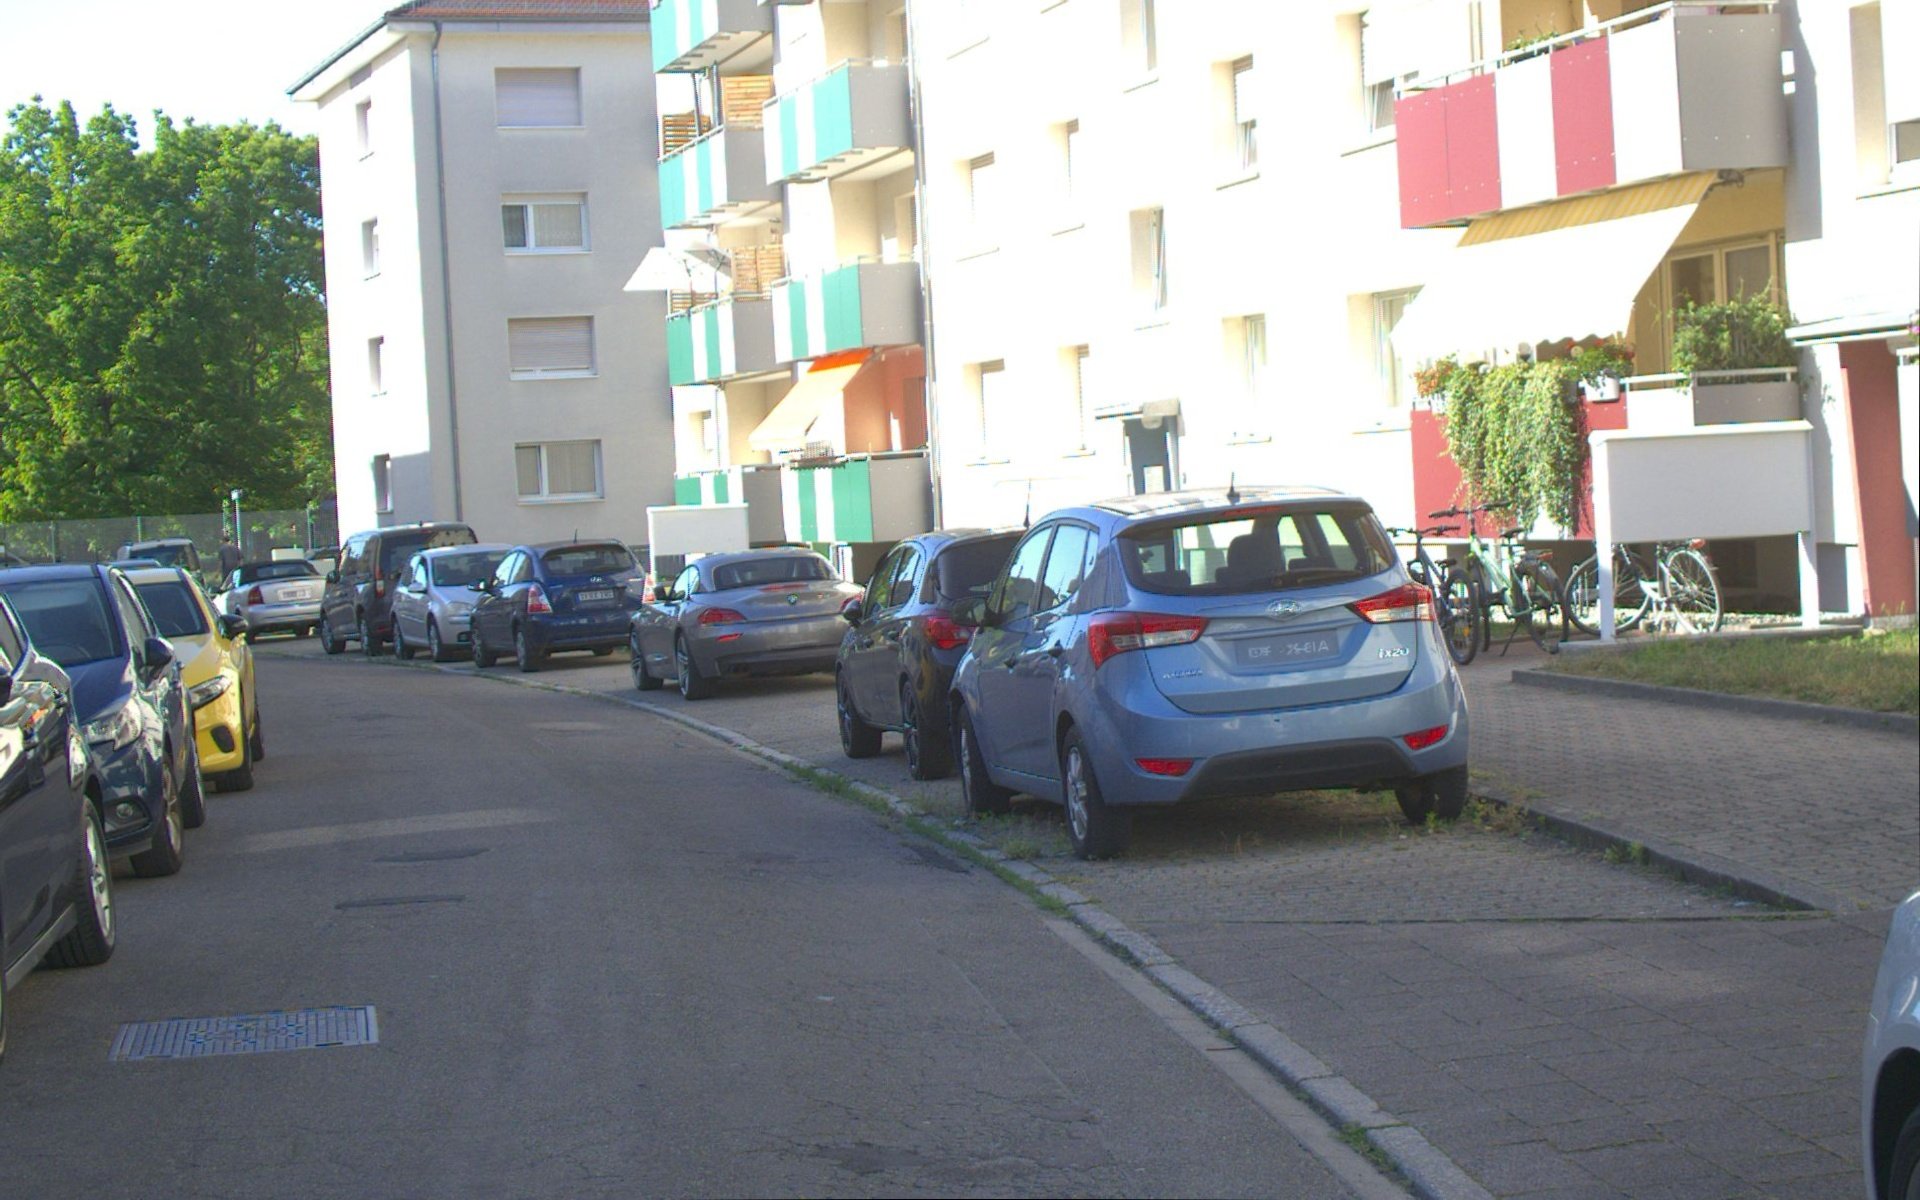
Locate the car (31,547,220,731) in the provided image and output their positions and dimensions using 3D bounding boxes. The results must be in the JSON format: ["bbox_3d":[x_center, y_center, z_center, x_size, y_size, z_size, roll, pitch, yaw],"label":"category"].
[{"bbox_3d":[-7.944,0.323,32.792,1.478,1.472,3.632,-8,3,-13],"label":"car"}]

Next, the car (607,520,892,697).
[{"bbox_3d":[-2.044,0.033,32.114,1.685,1.358,4.241,-7,3,-15],"label":"car"}]

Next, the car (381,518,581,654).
[{"bbox_3d":[-6.398,-0.200,45.561,1.681,1.582,4.013,-5,2,-20],"label":"car"}]

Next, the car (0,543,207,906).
[{"bbox_3d":[-4.662,0.550,16.808,1.693,1.440,4.021,-6,3,-11],"label":"car"}]

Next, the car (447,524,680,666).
[{"bbox_3d":[-4.779,-0.072,40.918,1.737,1.426,4.357,-6,2,-19],"label":"car"}]

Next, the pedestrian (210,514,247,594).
[{"bbox_3d":[-17.075,-1.072,80.269,0.654,1.809,0.614,-6,2,-11],"label":"pedestrian"}]

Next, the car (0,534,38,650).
[{"bbox_3d":[-16.773,-0.071,57.810,1.896,1.849,4.196,-5,1,-21],"label":"car"}]

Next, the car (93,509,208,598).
[{"bbox_3d":[-17.778,-0.997,75.424,1.765,1.733,4.095,-6,2,-21],"label":"car"}]

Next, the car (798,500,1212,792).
[{"bbox_3d":[0.182,0.218,21.909,1.735,1.503,3.887,-7,3,-11],"label":"car"}]

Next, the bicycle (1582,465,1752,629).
[{"bbox_3d":[5.229,-0.391,25.525,0.407,1.146,1.763,-6,2,-14],"label":"bicycle"}]

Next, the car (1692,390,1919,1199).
[{"bbox_3d":[2.402,0.496,4.064,1.693,1.649,4.391,-5,3,-4],"label":"car"}]

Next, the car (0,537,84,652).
[{"bbox_3d":[-13.415,-0.048,48.122,1.658,1.438,3.872,-6,2,-21],"label":"car"}]

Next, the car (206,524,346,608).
[{"bbox_3d":[-12.001,-0.614,60.160,1.717,1.359,4.056,-3,2,-20],"label":"car"}]

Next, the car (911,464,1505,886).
[{"bbox_3d":[1.054,0.243,16.748,1.765,1.629,4.043,-6,3,-10],"label":"car"}]

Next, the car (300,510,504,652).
[{"bbox_3d":[-8.208,-0.260,50.246,1.896,1.849,4.344,-5,1,-22],"label":"car"}]

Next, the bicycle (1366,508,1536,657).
[{"bbox_3d":[3.610,-0.140,25.420,0.497,1.016,1.842,-6,2,-14],"label":"bicycle"}]

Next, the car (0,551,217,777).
[{"bbox_3d":[-6.870,0.438,27.348,1.568,1.459,4.263,-6,3,-14],"label":"car"}]

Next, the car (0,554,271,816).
[{"bbox_3d":[-5.418,0.478,22.360,1.693,1.384,4.158,-5,2,-11],"label":"car"}]

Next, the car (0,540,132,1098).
[{"bbox_3d":[-3.749,0.675,10.698,1.693,1.555,4.158,-5,2,-7],"label":"car"}]

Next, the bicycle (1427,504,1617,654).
[{"bbox_3d":[4.166,-0.178,25.636,0.617,0.974,1.897,-7,4,-13],"label":"bicycle"}]
